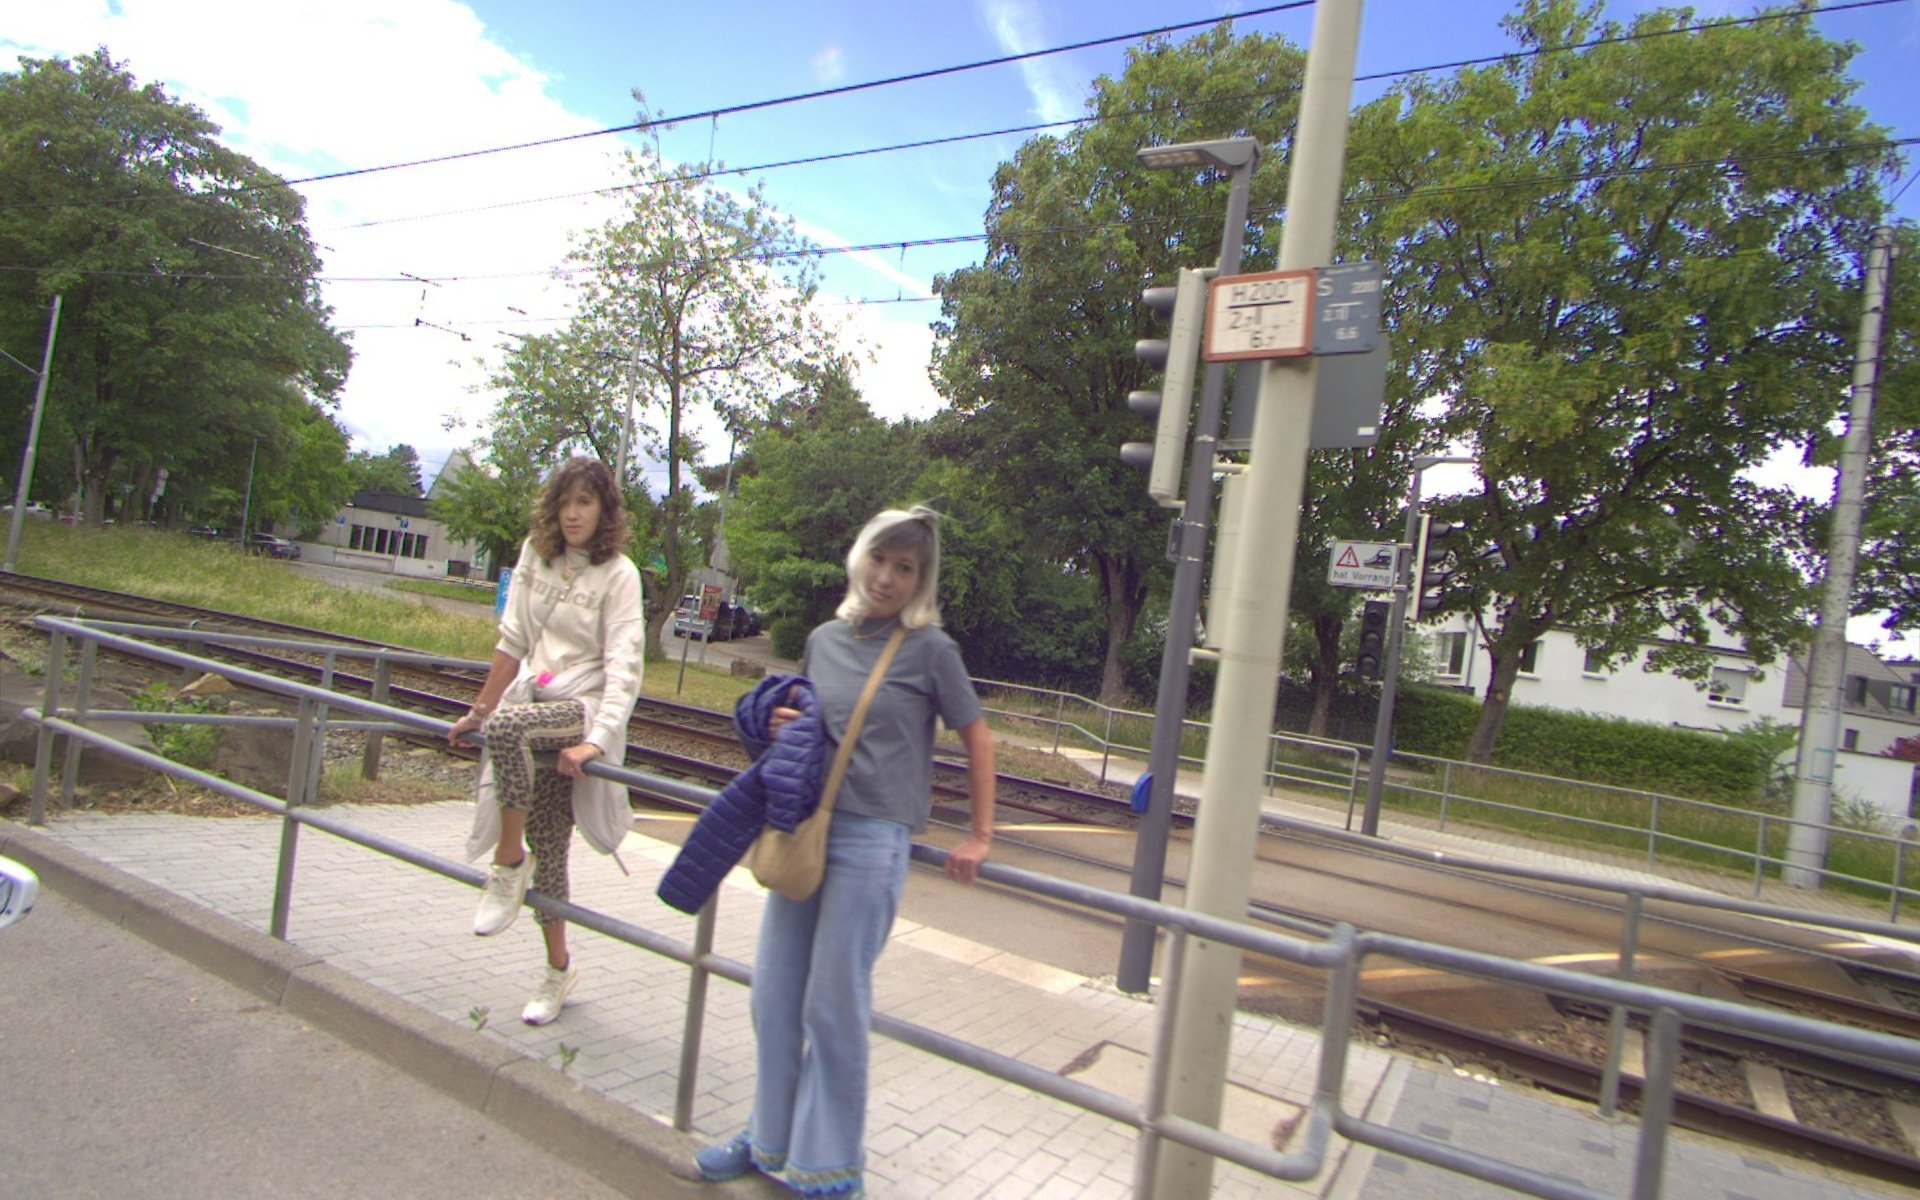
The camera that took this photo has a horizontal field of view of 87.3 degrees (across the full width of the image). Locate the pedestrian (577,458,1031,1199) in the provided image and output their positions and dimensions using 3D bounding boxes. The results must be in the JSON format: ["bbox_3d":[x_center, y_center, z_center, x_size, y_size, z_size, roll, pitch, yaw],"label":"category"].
[{"bbox_3d":[-0.323,0.618,2.339,0.785,1.748,0.476,6,-2,7],"label":"pedestrian"}]

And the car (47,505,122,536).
[{"bbox_3d":[-59.042,-5.332,67.880,3.925,1.459,2.002,7,-2,19],"label":"car"}]

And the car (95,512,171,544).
[{"bbox_3d":[-54.418,-4.749,66.235,3.925,1.459,2.002,7,-2,19],"label":"car"}]

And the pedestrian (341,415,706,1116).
[{"bbox_3d":[-1.287,0.456,3.101,0.585,1.861,0.661,6,-2,8],"label":"pedestrian"}]

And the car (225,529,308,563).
[{"bbox_3d":[-43.111,-3.350,62.528,4.265,1.459,2.002,7,-2,19],"label":"car"}]

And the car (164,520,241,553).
[{"bbox_3d":[-48.385,-4.043,64.277,3.925,1.459,2.002,7,-2,19],"label":"car"}]

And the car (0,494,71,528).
[{"bbox_3d":[-64.282,-6.172,69.729,4.150,1.719,2.003,7,-3,19],"label":"car"}]

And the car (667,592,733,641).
[{"bbox_3d":[-11.774,0.772,45.861,1.883,1.882,4.713,8,-2,-5],"label":"car"}]
